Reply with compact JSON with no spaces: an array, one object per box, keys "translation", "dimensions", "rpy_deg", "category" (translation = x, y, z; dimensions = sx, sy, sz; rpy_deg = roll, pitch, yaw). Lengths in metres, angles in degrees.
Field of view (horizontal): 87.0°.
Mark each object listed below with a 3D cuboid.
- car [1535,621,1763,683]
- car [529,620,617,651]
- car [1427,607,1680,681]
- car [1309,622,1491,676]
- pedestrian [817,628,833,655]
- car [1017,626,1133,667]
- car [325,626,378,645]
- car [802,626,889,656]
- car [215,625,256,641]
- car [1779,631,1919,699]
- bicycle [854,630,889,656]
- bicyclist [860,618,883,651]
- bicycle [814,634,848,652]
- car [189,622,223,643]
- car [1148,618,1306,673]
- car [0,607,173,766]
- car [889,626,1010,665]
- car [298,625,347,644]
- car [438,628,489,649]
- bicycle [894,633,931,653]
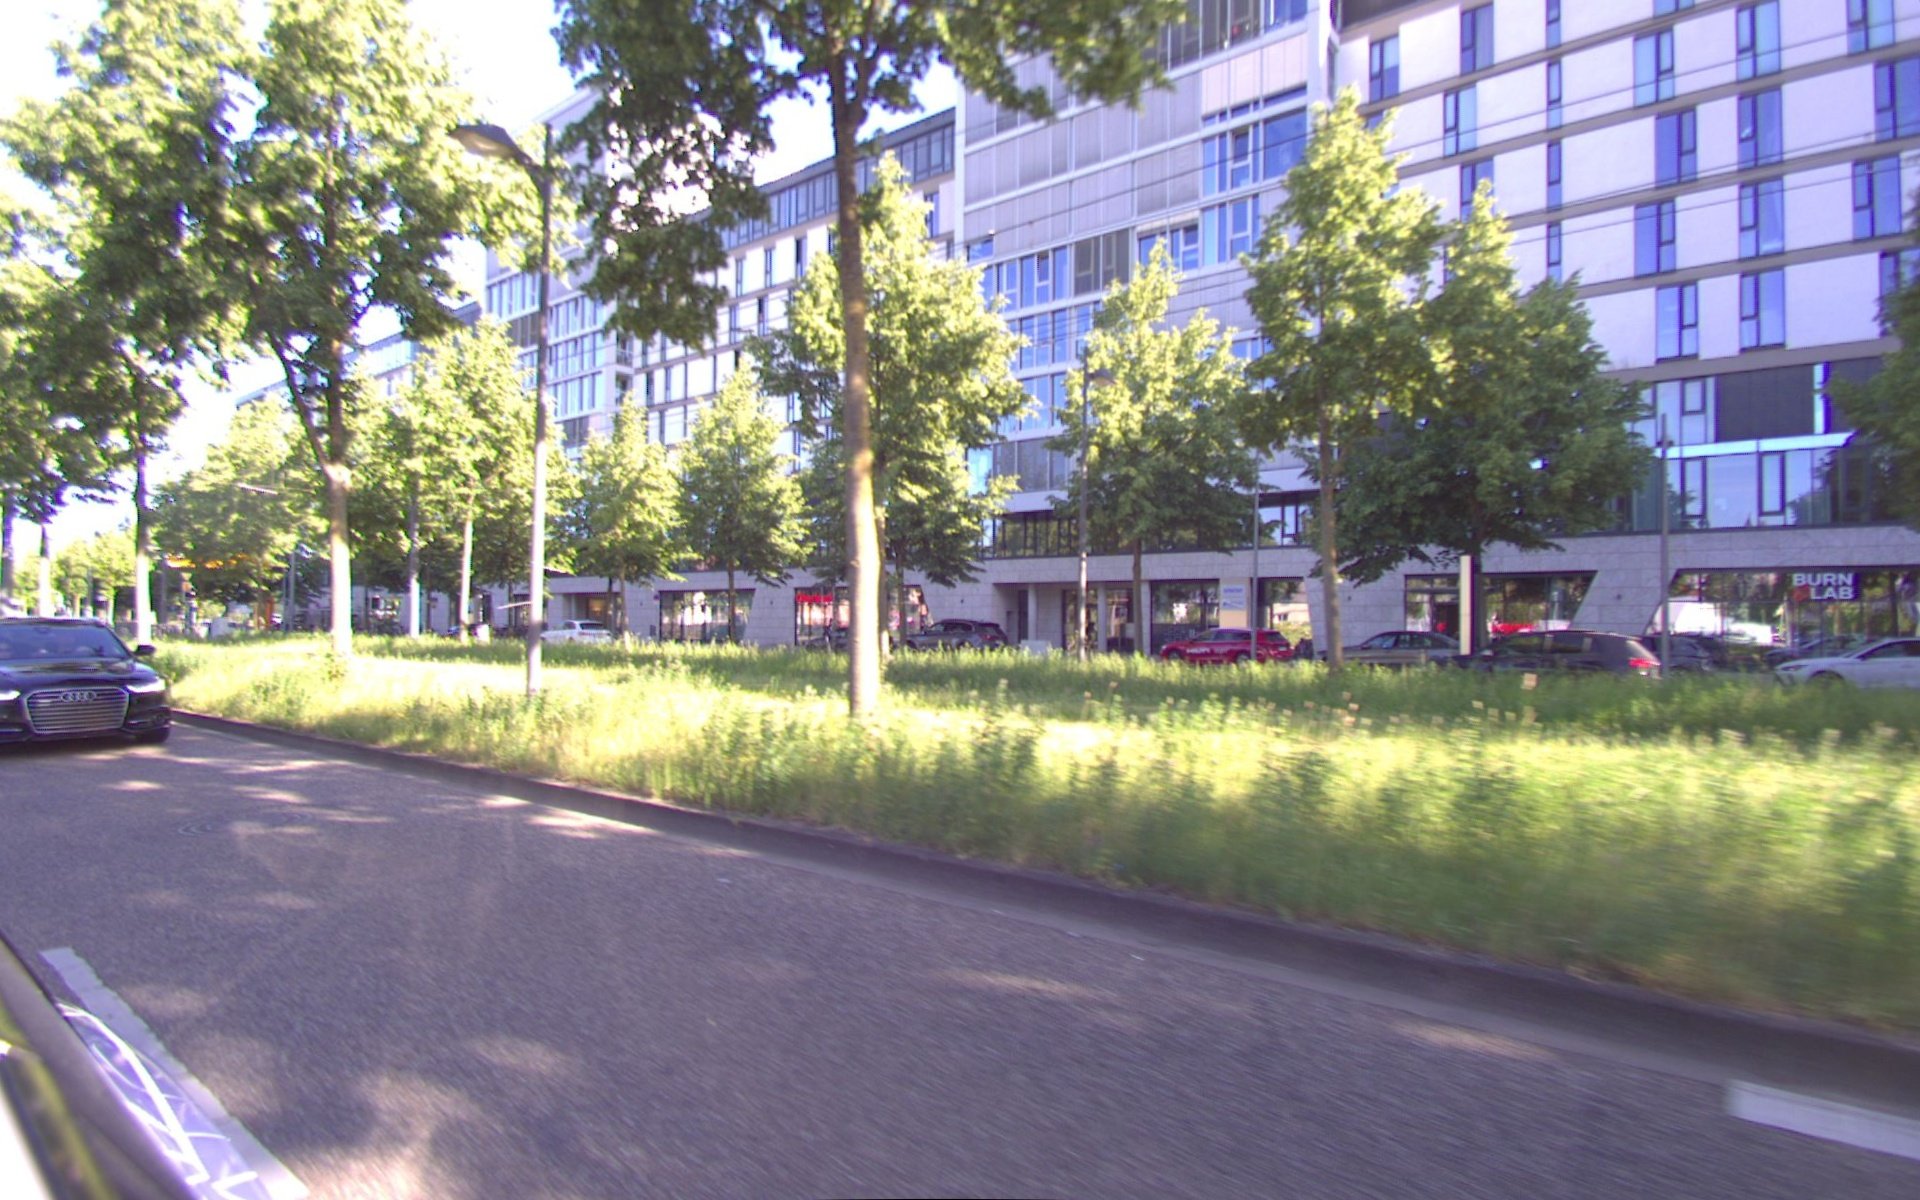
[{"translation":[17.123,1.241,25.292],"dimensions":[4.542,1.431,1.697],"rpy_deg":[-1,-2,41],"category":"car"},{"translation":[-17.502,1.623,45.714],"dimensions":[4.305,1.302,1.780],"rpy_deg":[-3,-4,38],"category":"car"},{"translation":[11.338,0.808,19.457],"dimensions":[3.995,1.273,1.780],"rpy_deg":[-1,-2,39],"category":"car"},{"translation":[12.627,1.364,29.206],"dimensions":[4.540,1.431,1.698],"rpy_deg":[-1,-2,39],"category":"car"},{"translation":[-7.123,2.178,53.393],"dimensions":[0.689,1.423,0.403],"rpy_deg":[1,-1,39],"category":"pedestrian"},{"translation":[4.046,1.618,35.834],"dimensions":[3.749,1.364,1.716],"rpy_deg":[-1,-2,38],"category":"car"},{"translation":[-45.822,2.649,76.156],"dimensions":[4.540,1.431,1.979],"rpy_deg":[-1,-2,39],"category":"car"},{"translation":[-4.906,1.728,43.242],"dimensions":[3.578,1.217,1.652],"rpy_deg":[-1,-2,38],"category":"car"},{"translation":[-57.036,2.558,79.683],"dimensions":[3.480,1.247,1.752],"rpy_deg":[-1,-2,38],"category":"car"},{"translation":[20.920,1.405,22.214],"dimensions":[4.540,1.431,1.698],"rpy_deg":[-1,-2,39],"category":"car"},{"translation":[-4.034,1.951,46.278],"dimensions":[1.570,1.128,0.725],"rpy_deg":[-2,-2,41],"category":"bicycle"},{"translation":[-4.053,1.579,46.301],"dimensions":[0.831,1.475,0.713],"rpy_deg":[-2,-2,41],"category":"bicyclist"},{"translation":[-6.883,2.296,53.799],"dimensions":[2.012,0.888,0.536],"rpy_deg":[0,-1,39],"category":"bicycle"},{"translation":[-74.519,3.220,99.966],"dimensions":[3.997,1.940,1.781],"rpy_deg":[1,-1,40],"category":"car"},{"translation":[9.392,1.602,35.901],"dimensions":[5.121,1.790,1.781],"rpy_deg":[-2,-1,38],"category":"car"},{"translation":[-10.791,0.883,11.647],"dimensions":[4.596,1.538,1.766],"rpy_deg":[-1,-1,39],"category":"car"},{"translation":[-0.460,1.736,39.603],"dimensions":[4.799,1.430,1.652],"rpy_deg":[-1,-2,39],"category":"car"},{"translation":[-50.490,2.716,80.169],"dimensions":[4.540,1.431,1.939],"rpy_deg":[-1,-2,39],"category":"car"},{"translation":[-31.853,2.459,64.941],"dimensions":[3.461,1.244,1.634],"rpy_deg":[1,-1,39],"category":"car"},{"translation":[-2.385,2.139,50.228],"dimensions":[1.980,0.979,0.536],"rpy_deg":[-2,-2,39],"category":"bicycle"}]
